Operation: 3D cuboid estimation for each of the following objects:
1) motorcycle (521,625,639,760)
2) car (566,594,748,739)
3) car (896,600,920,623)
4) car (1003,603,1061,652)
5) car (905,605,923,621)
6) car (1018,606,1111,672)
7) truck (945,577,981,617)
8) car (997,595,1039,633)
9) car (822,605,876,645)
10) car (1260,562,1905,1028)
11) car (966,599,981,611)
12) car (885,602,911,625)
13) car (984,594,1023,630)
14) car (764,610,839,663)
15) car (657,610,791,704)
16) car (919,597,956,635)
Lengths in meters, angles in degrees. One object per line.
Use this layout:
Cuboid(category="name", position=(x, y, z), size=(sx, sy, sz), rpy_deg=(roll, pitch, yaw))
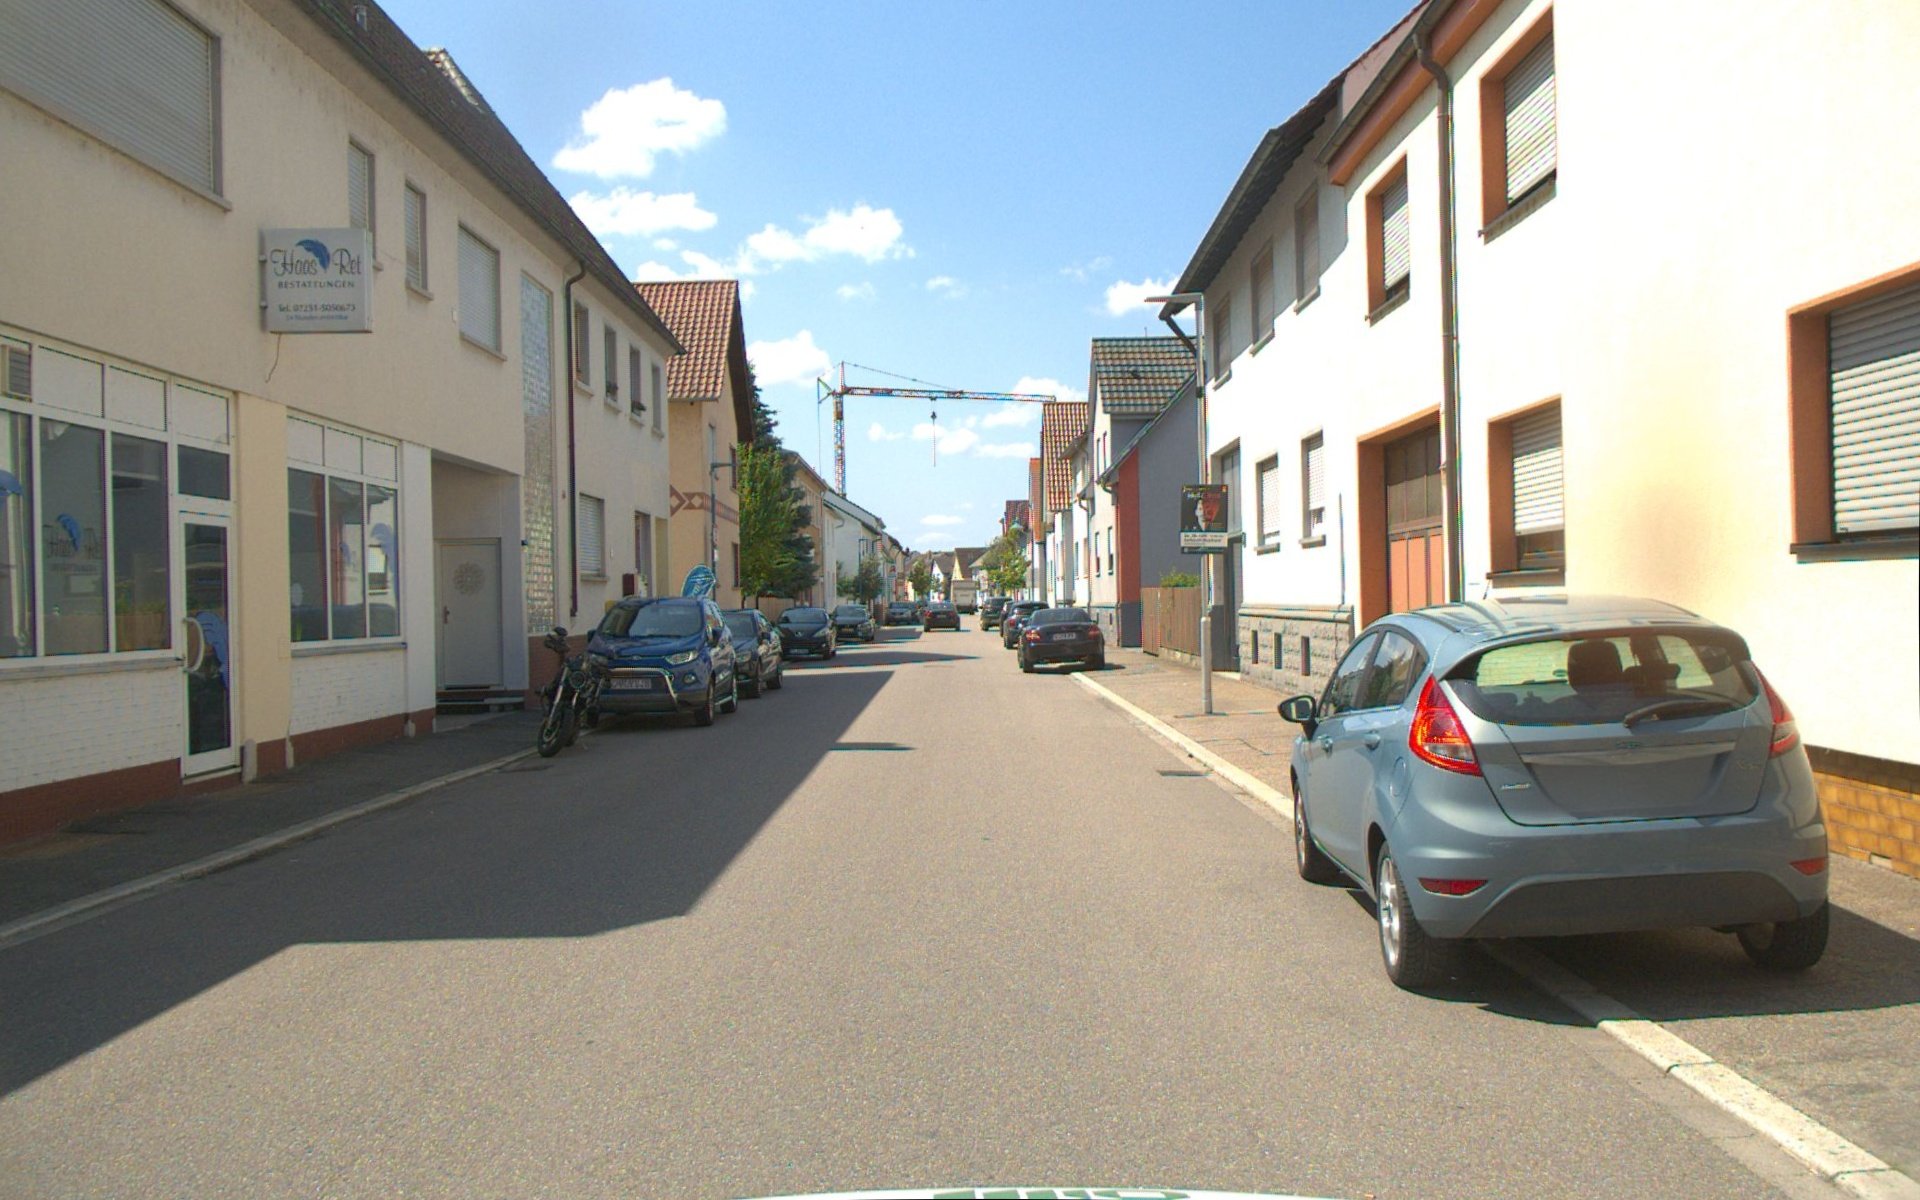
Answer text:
Cuboid(category="motorcycle", position=(-4.114, 0.970, 18.081), size=(0.792, 1.335, 2.105), rpy_deg=(-1, 0, -1))
Cuboid(category="car", position=(-3.962, 0.805, 22.244), size=(1.683, 1.668, 4.147), rpy_deg=(-3, 0, -1))
Cuboid(category="car", position=(-3.875, 0.877, 123.779), size=(1.620, 1.637, 4.060), rpy_deg=(-2, 0, -1))
Cuboid(category="car", position=(2.258, 0.864, 52.877), size=(1.654, 1.447, 3.656), rpy_deg=(-2, 0, 0))
Cuboid(category="car", position=(-4.526, 1.257, 163.169), size=(1.688, 1.583, 4.172), rpy_deg=(0, 0, 0))
Cuboid(category="car", position=(2.223, 0.816, 36.227), size=(1.778, 1.298, 4.147), rpy_deg=(-2, 0, 0))
Cuboid(category="truck", position=(0.249, -0.300, 176.649), size=(3.311, 3.932, 13.921), rpy_deg=(-3, 0, -1))
Cuboid(category="car", position=(2.528, 0.600, 72.802), size=(1.584, 1.521, 3.971), rpy_deg=(-4, 0, 0))
Cuboid(category="car", position=(-4.500, 0.990, 67.588), size=(1.731, 1.485, 4.437), rpy_deg=(-2, 0, 2))
Cuboid(category="car", position=(2.522, 0.688, 7.701), size=(1.686, 1.507, 3.751), rpy_deg=(-5, 0, 4))
Cuboid(category="car", position=(1.855, 0.664, 223.070), size=(1.747, 1.591, 4.335), rpy_deg=(-3, 0, -2))
Cuboid(category="car", position=(-4.363, 0.928, 117.061), size=(1.723, 1.551, 4.288), rpy_deg=(-2, 0, -1))
Cuboid(category="car", position=(2.211, 0.584, 85.107), size=(1.694, 1.747, 4.274), rpy_deg=(-2, 0, -2))
Cuboid(category="car", position=(-4.437, 0.993, 46.784), size=(1.725, 1.398, 4.066), rpy_deg=(-1, 0, -1))
Cuboid(category="car", position=(-4.015, 0.929, 28.773), size=(1.663, 1.436, 4.390), rpy_deg=(-1, 0, 0))
Cuboid(category="car", position=(-1.153, 0.806, 84.359), size=(1.747, 1.784, 3.999), rpy_deg=(-3, 0, -1))
